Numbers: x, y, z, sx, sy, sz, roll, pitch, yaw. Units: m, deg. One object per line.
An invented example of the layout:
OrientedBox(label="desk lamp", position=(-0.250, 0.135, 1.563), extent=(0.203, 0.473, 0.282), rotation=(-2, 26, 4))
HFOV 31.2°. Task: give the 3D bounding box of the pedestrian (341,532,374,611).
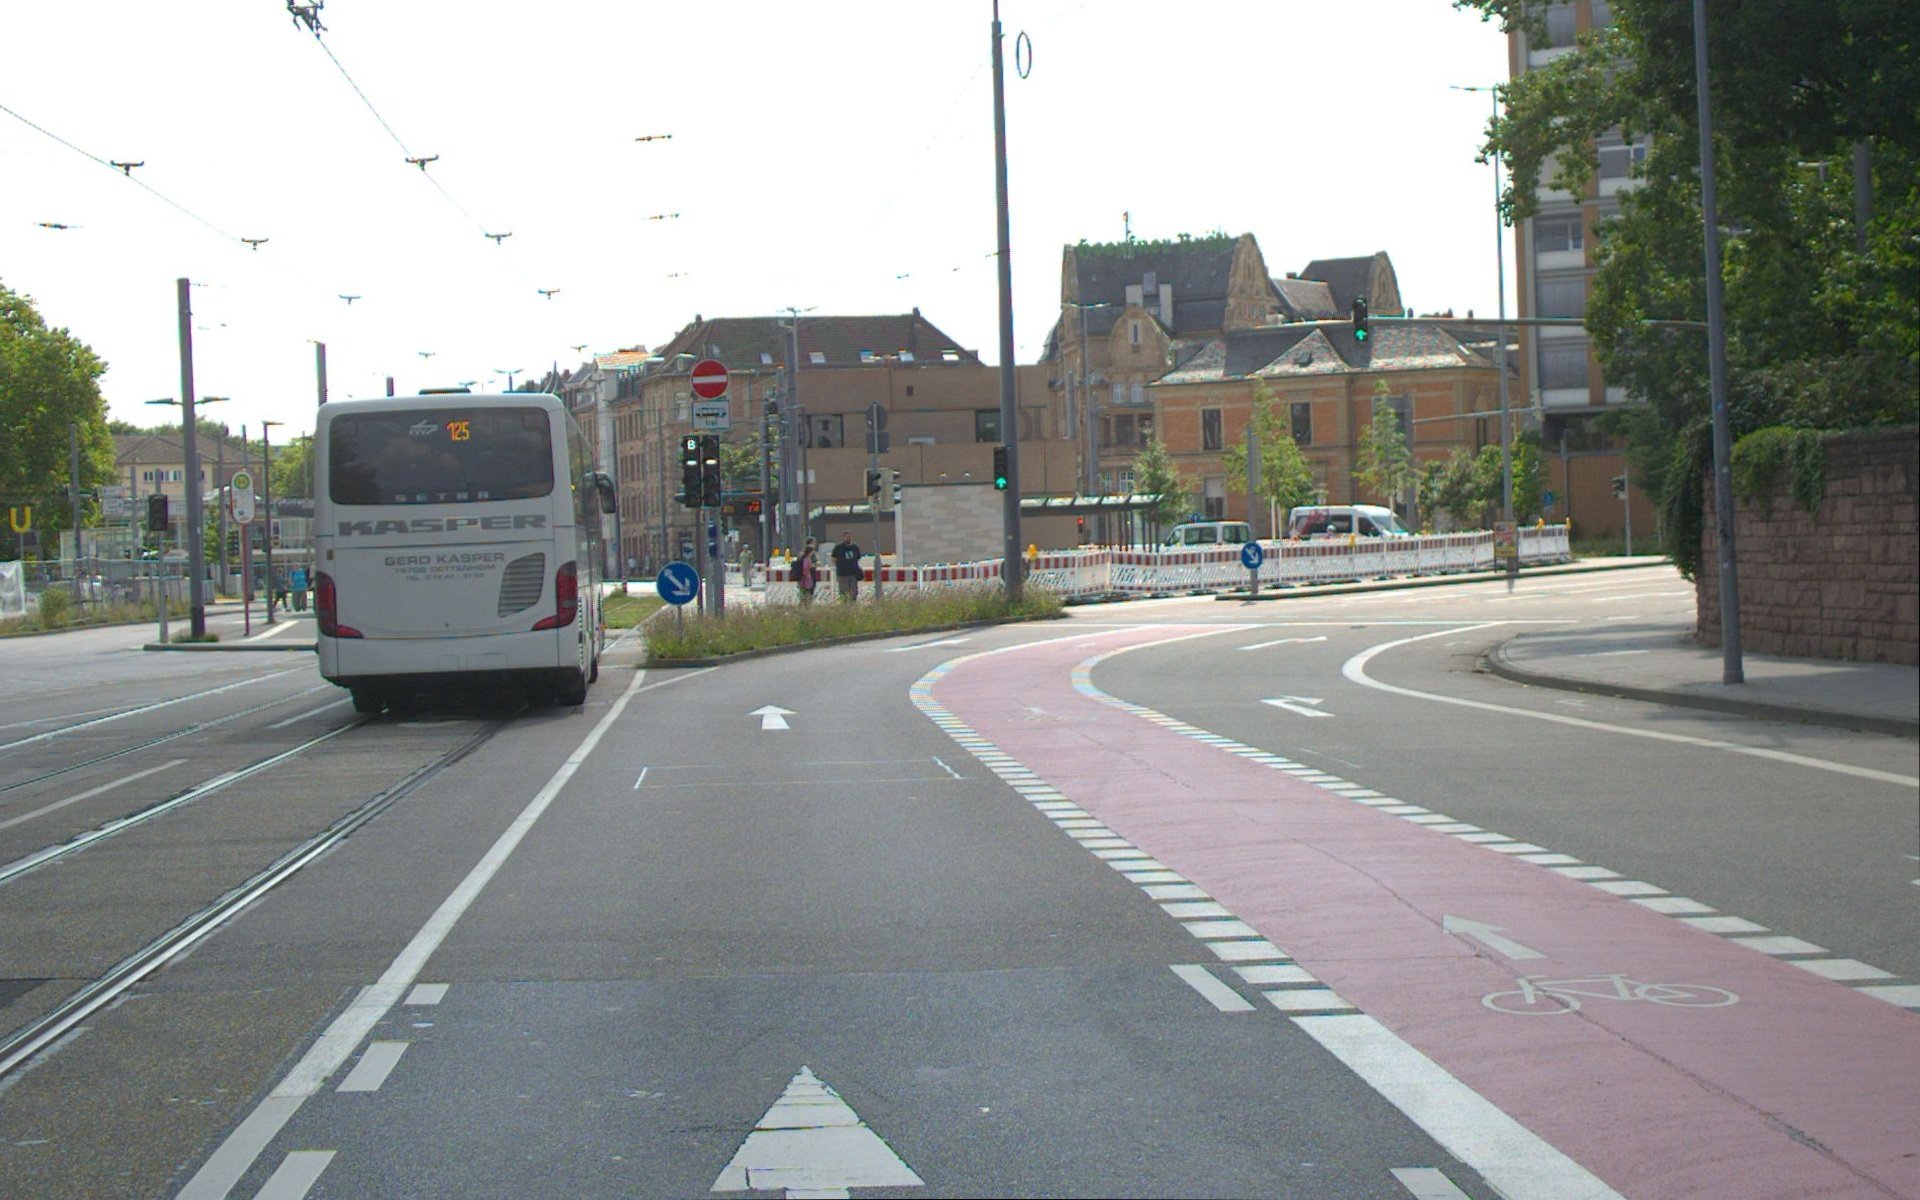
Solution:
OrientedBox(label="pedestrian", position=(-14.691, -0.702, 83.861), extent=(0.611, 1.878, 0.794), rotation=(-2, 1, -3))

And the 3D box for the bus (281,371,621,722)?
OrientedBox(label="bus", position=(-5.492, -0.560, 39.156), extent=(2.917, 3.317, 12.208), rotation=(-1, 0, -4))

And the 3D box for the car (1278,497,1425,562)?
OrientedBox(label="car", position=(15.265, -2.738, 134.365), extent=(2.295, 2.311, 5.586), rotation=(-3, 1, -40))

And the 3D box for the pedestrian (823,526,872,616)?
OrientedBox(label="pedestrian", position=(-2.391, -0.613, 73.165), extent=(0.791, 1.878, 0.613), rotation=(-3, 1, -27))

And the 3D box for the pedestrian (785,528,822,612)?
OrientedBox(label="pedestrian", position=(-3.261, -0.628, 71.580), extent=(0.611, 1.701, 0.622), rotation=(-2, 1, 7))

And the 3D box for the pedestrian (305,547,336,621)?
OrientedBox(label="pedestrian", position=(-16.484, -0.422, 88.644), extent=(0.611, 1.878, 0.794), rotation=(-2, 1, -3))

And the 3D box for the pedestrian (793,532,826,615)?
OrientedBox(label="pedestrian", position=(-3.178, -0.562, 72.616), extent=(0.409, 1.730, 0.620), rotation=(-2, 1, 20))

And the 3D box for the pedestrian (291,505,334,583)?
OrientedBox(label="pedestrian", position=(-16.933, -1.467, 89.925), extent=(0.940, 2.007, 0.731), rotation=(-1, 0, -1))
